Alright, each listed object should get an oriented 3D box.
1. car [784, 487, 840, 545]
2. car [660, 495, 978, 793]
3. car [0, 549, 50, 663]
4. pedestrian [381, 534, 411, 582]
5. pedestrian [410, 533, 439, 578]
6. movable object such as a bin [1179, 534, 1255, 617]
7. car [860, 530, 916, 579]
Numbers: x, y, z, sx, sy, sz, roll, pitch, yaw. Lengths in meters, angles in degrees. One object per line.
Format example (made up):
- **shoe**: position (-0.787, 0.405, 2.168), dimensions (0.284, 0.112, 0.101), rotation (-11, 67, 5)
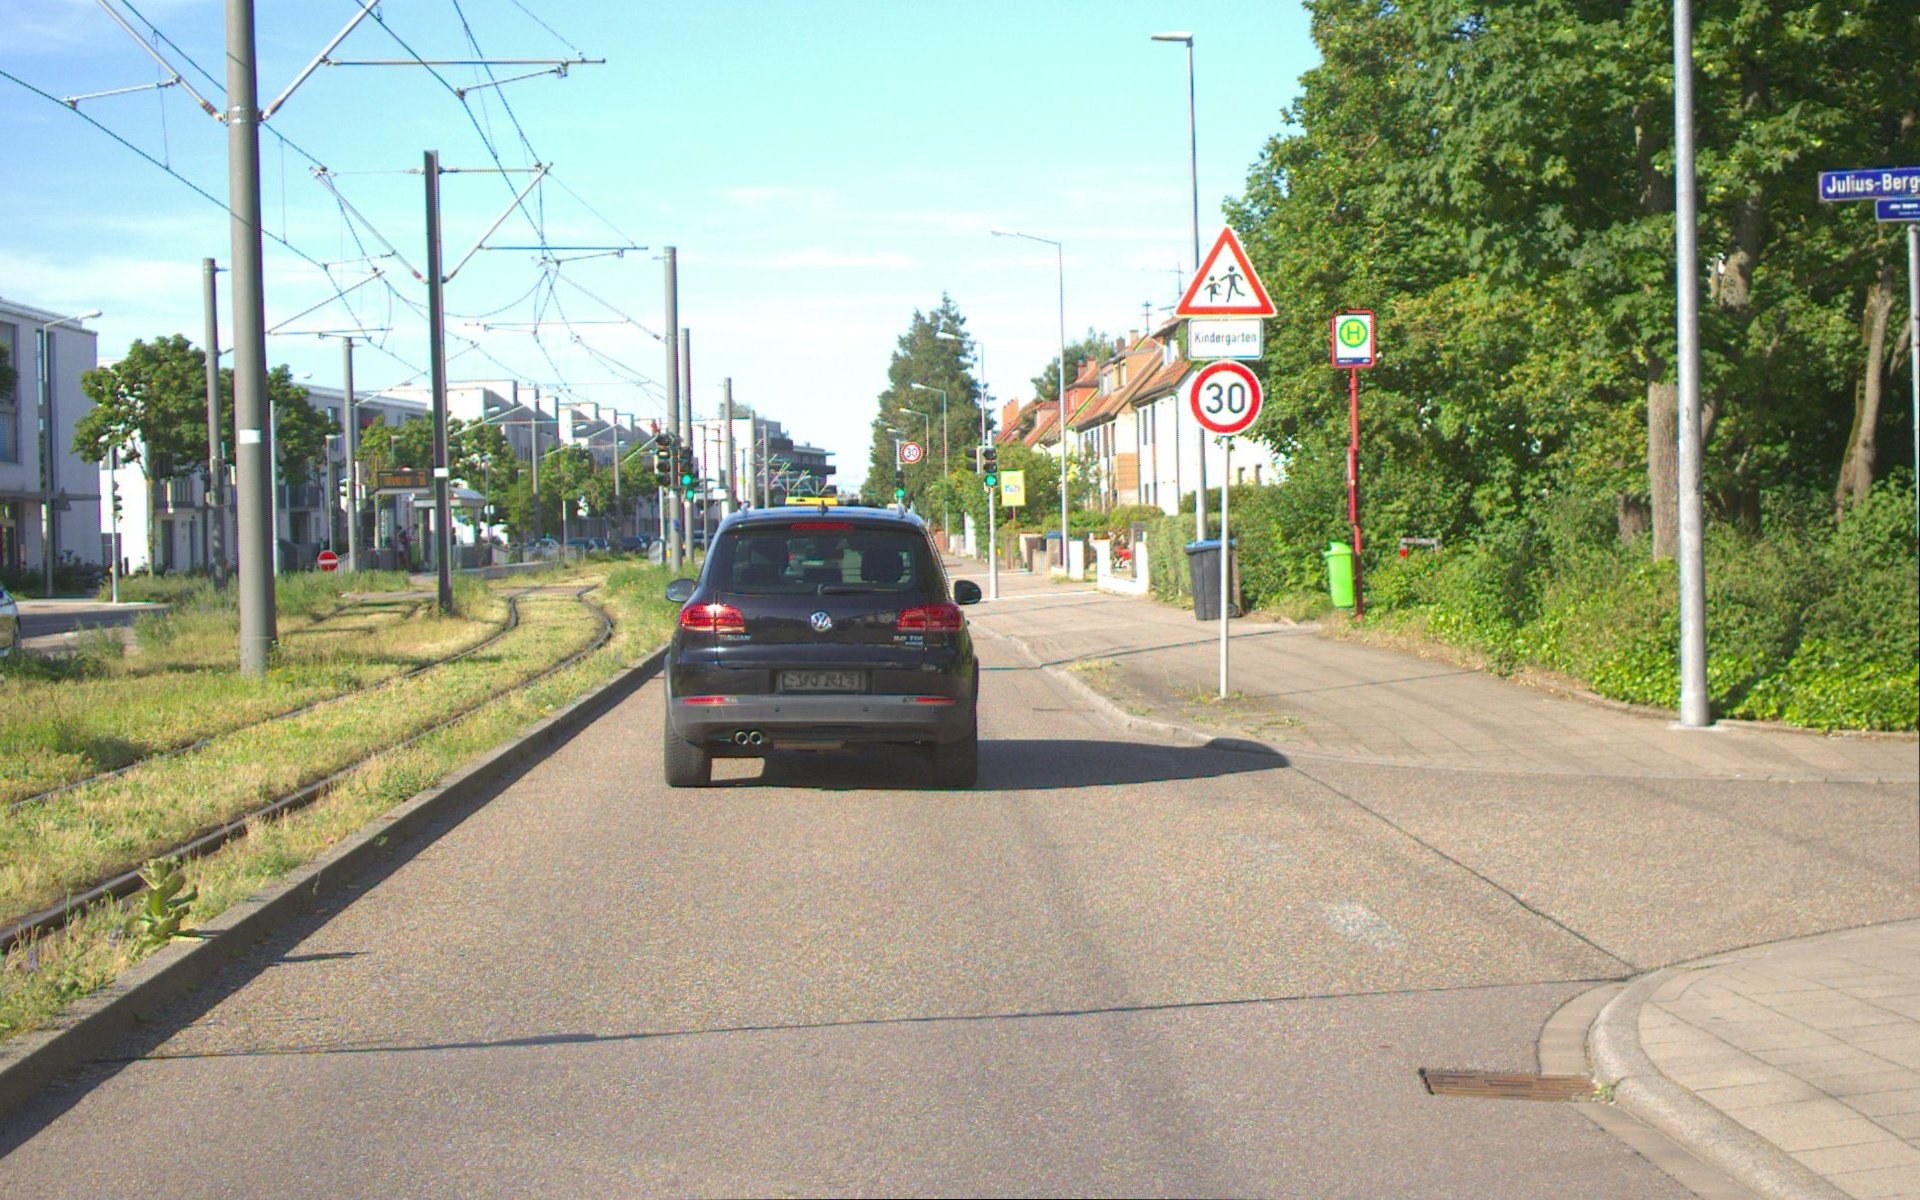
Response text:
- **car**: position (-6.788, -3.840, 158.220), dimensions (2.394, 2.556, 5.530), rotation (-1, 1, -1)
- **car**: position (-0.920, 0.213, 21.277), dimensions (1.775, 1.664, 4.001), rotation (0, 1, -4)
- **car**: position (-13.113, 0.123, 44.081), dimensions (1.762, 1.439, 4.918), rotation (-3, 1, -3)
- **pedestrian**: position (-19.022, -1.422, 115.927), dimensions (0.881, 1.581, 0.628), rotation (-2, 1, -20)
- **pedestrian**: position (-19.105, -1.597, 122.641), dimensions (0.881, 1.581, 0.628), rotation (-2, 1, -20)
- **movable object such as a bin**: position (3.597, -0.350, 48.206), dimensions (0.976, 1.107, 1.170), rotation (-1, 1, 2)
- **car**: position (-2.554, -1.610, 121.083), dimensions (1.775, 1.664, 4.001), rotation (-1, 1, -4)
